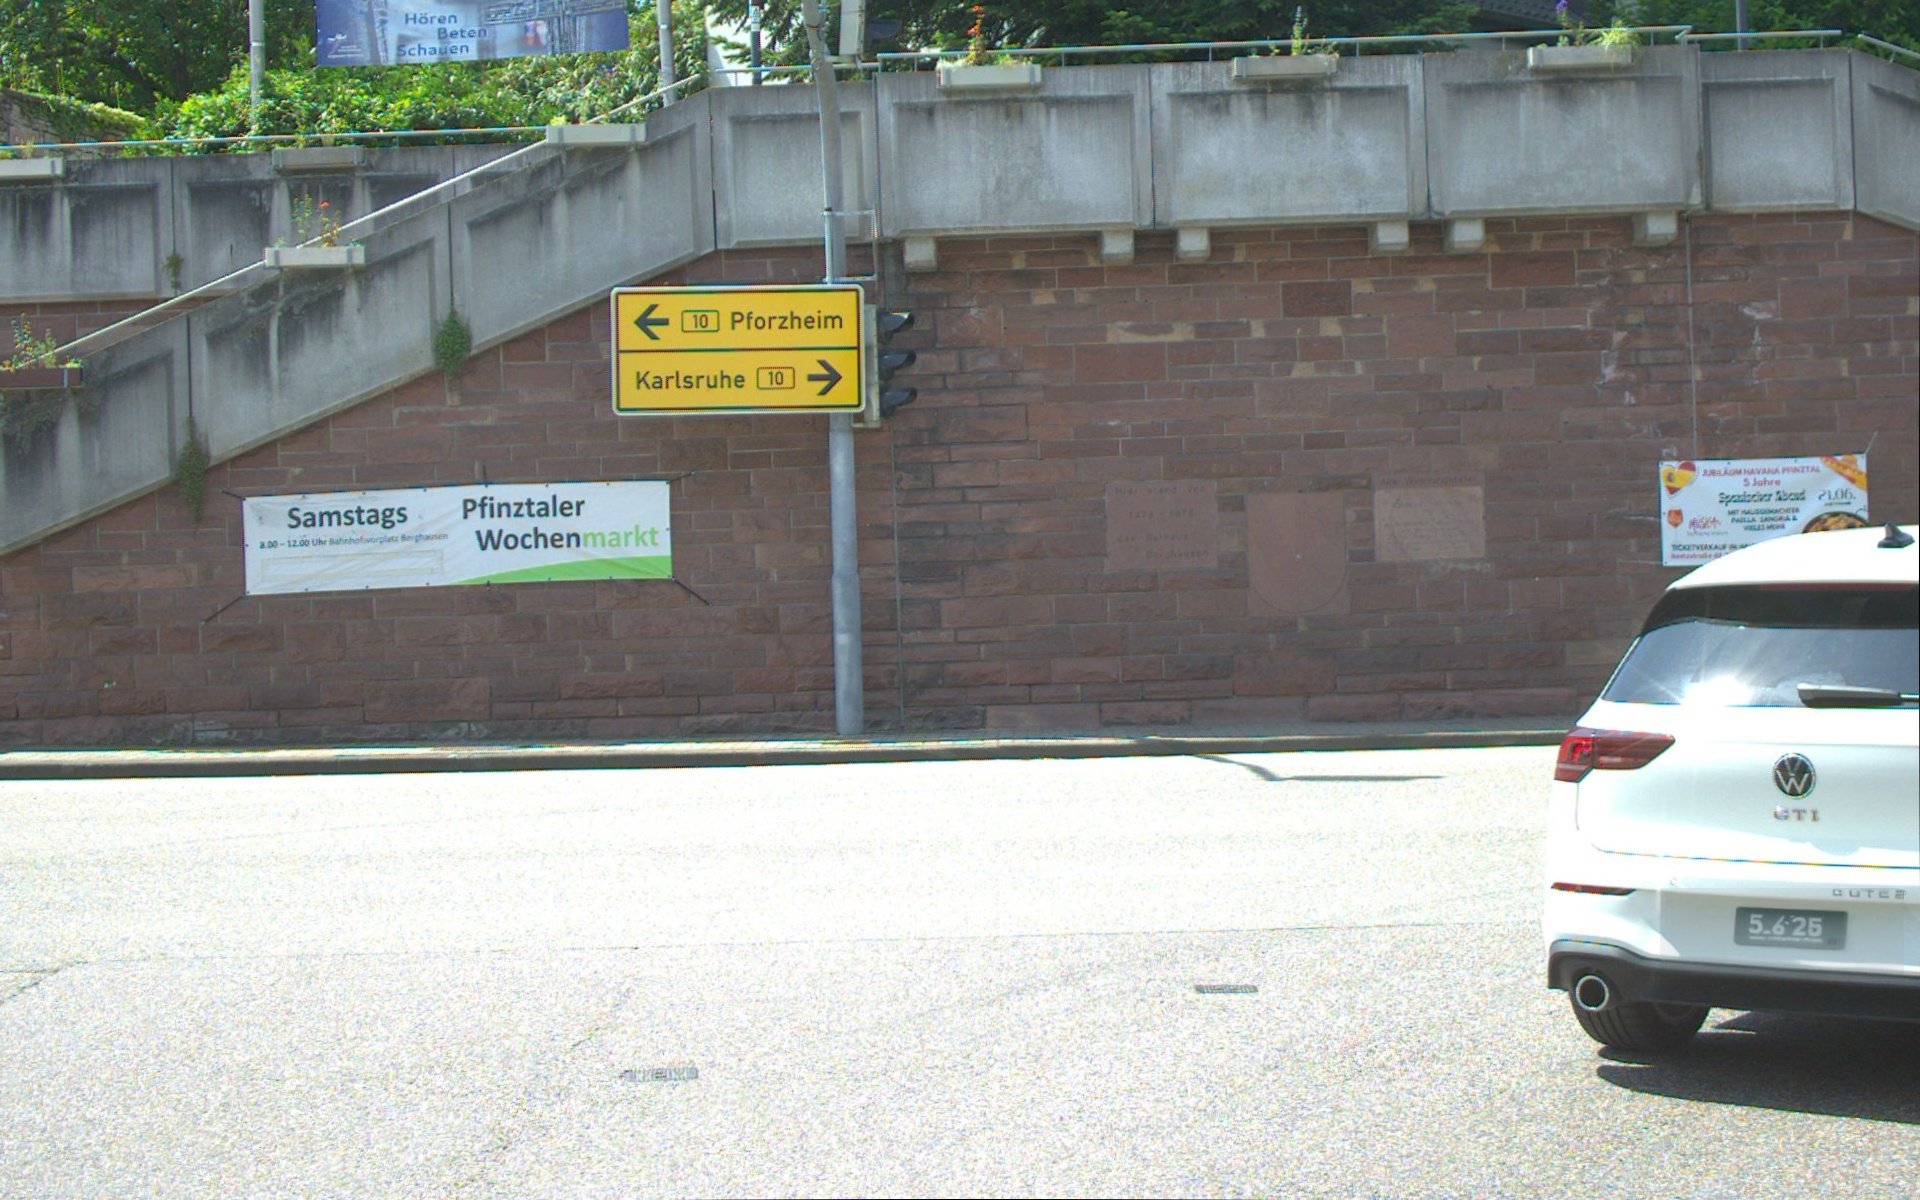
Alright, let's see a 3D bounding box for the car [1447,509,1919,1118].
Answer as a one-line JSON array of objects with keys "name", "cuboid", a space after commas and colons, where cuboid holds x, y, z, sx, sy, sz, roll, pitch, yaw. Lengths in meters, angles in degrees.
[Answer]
[{"name": "car", "cuboid": [3.146, 0.470, 9.946, 1.786, 1.453, 3.855, -1, 1, 37]}]
